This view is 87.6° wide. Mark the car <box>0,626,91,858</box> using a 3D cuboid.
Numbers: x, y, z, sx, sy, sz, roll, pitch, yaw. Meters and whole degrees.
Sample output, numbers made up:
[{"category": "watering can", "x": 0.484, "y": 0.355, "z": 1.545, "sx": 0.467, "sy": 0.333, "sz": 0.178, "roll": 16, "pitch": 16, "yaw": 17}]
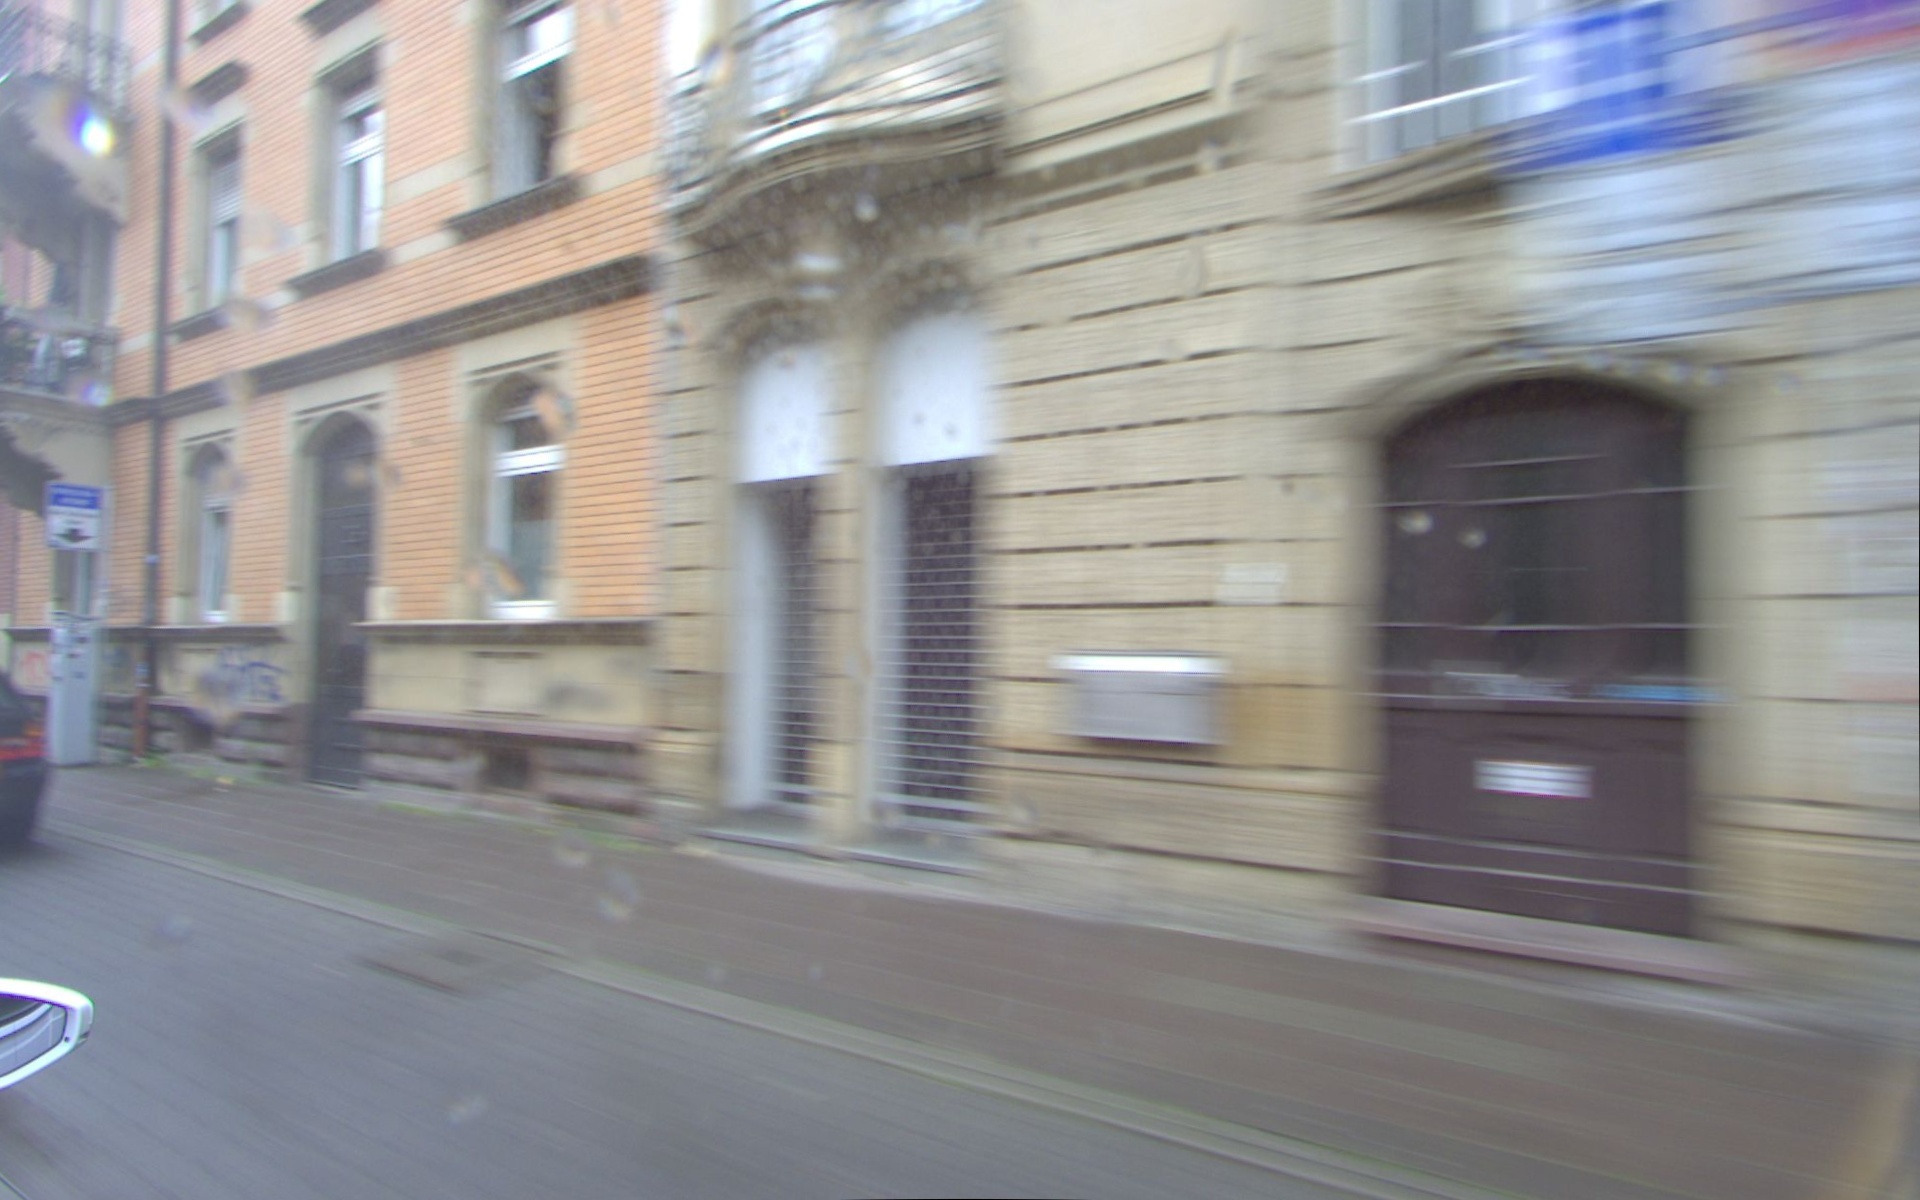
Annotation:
[{"category": "car", "x": -8.303, "y": 0.905, "z": 7.297, "sx": 4.419, "sy": 1.485, "sz": 1.784, "roll": 0, "pitch": -2, "yaw": 33}]
